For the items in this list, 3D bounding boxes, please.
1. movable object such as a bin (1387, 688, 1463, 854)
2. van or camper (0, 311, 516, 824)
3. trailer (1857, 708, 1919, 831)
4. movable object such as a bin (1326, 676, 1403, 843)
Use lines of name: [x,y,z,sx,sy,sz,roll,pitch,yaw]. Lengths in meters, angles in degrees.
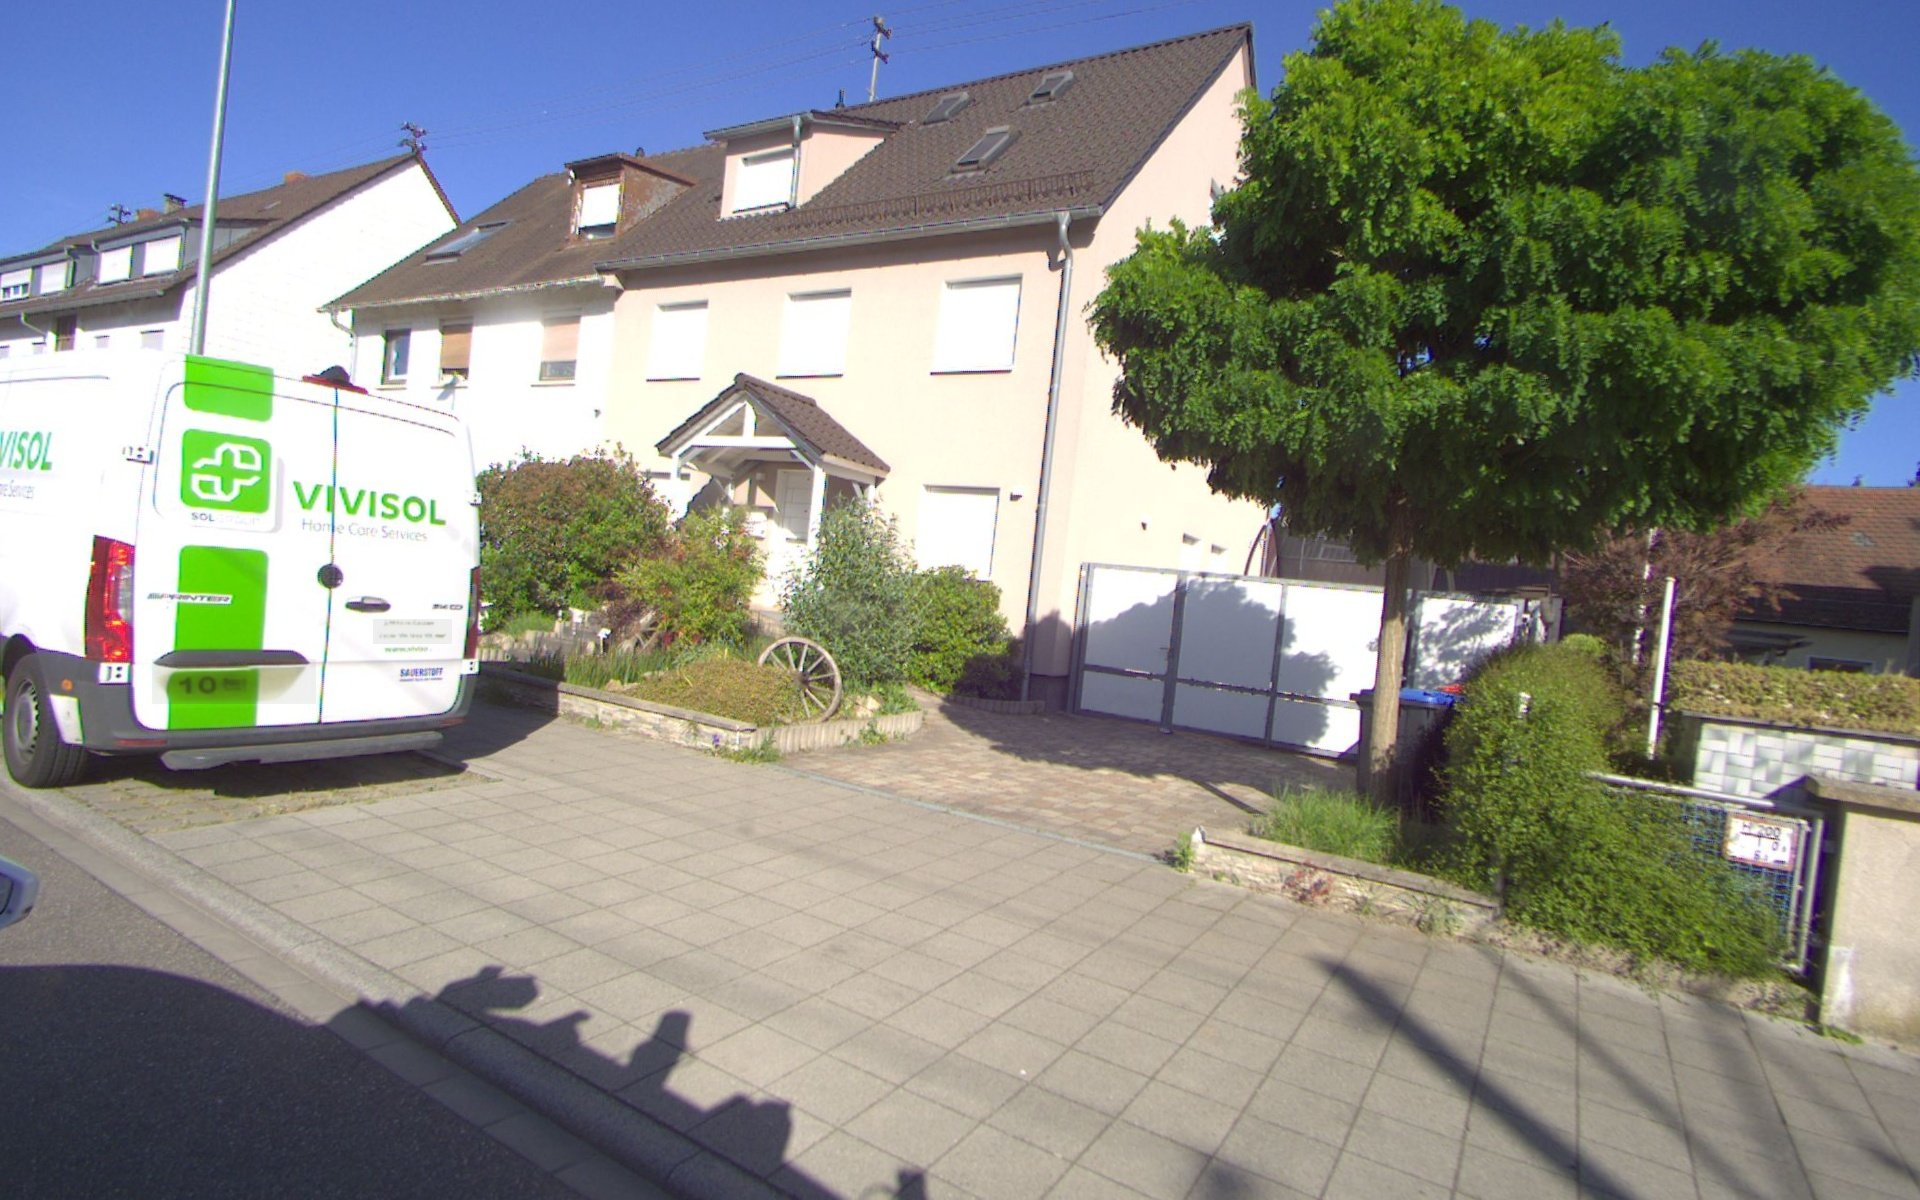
movable object such as a bin: [3.174,1.159,6.874,0.316,1.076,0.215,6,1,2]
van or camper: [-5.951,-0.370,6.996,6.201,2.301,1.994,6,2,32]
trailer: [11.247,1.970,10.757,1.606,1.205,3.745,7,1,30]
movable object such as a bin: [2.861,1.119,7.126,0.323,1.109,0.280,6,0,2]
